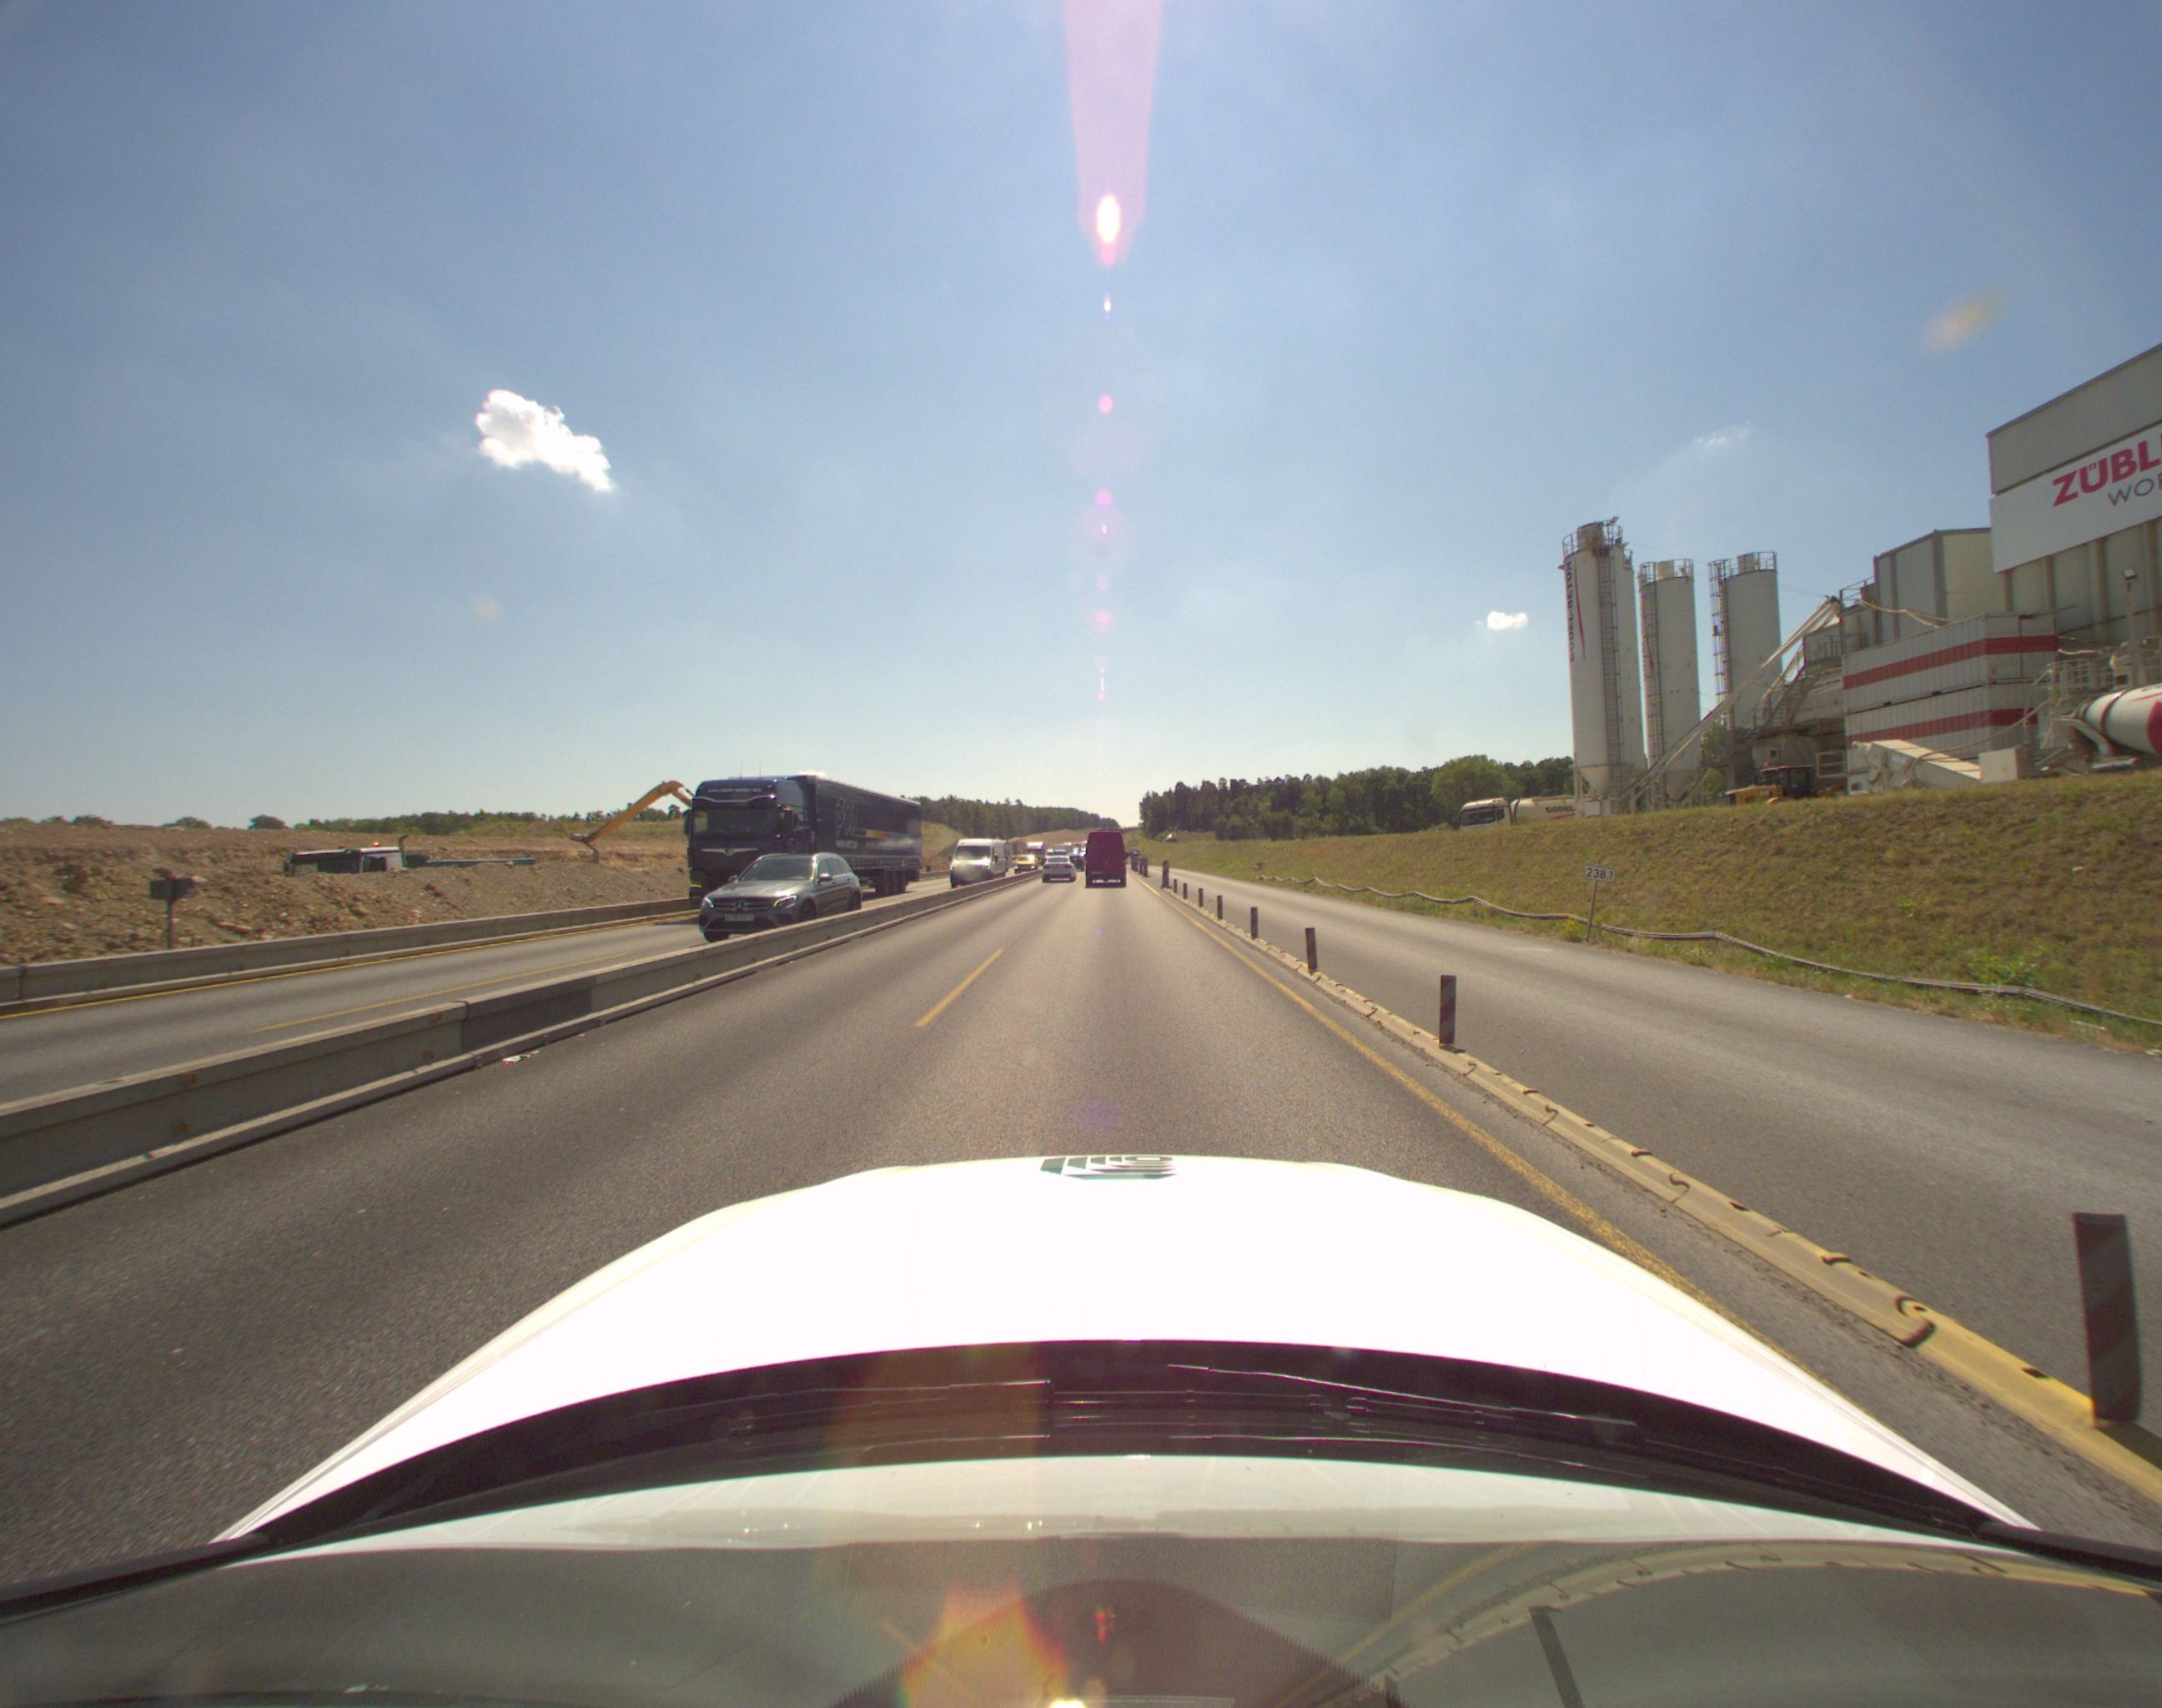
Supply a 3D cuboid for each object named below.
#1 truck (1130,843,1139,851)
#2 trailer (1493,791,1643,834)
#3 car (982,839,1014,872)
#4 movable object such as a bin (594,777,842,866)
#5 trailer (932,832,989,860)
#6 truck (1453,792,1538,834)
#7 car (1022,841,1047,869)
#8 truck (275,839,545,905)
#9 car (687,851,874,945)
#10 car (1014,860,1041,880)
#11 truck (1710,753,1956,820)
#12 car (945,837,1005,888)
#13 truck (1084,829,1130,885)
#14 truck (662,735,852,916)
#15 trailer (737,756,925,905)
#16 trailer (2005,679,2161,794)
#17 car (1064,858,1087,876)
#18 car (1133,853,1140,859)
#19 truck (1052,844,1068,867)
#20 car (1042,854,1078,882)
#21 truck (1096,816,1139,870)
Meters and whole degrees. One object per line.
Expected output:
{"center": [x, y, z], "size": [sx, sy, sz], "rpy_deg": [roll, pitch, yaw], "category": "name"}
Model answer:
{"center": [15.957, -2.103, 241.426], "size": [2.117, 2.457, 5.940], "rpy_deg": [0, 1, 9], "category": "truck"}
{"center": [33.183, -2.833, 55.595], "size": [8.872, 2.607, 2.462], "rpy_deg": [-1, -1, -3], "category": "trailer"}
{"center": [-7.718, 0.174, 76.255], "size": [2.243, 2.955, 5.851], "rpy_deg": [0, -1, 2], "category": "car"}
{"center": [-28.614, -2.518, 64.690], "size": [18.154, 6.773, 3.389], "rpy_deg": [0, -1, 1], "category": "movable object such as a bin"}
{"center": [-18.564, -1.144, 125.084], "size": [8.272, 4.098, 2.814], "rpy_deg": [-1, -1, 20], "category": "trailer"}
{"center": [27.670, -2.673, 54.345], "size": [5.330, 2.544, 2.873], "rpy_deg": [0, -1, -35], "category": "truck"}
{"center": [-6.578, 0.119, 116.738], "size": [2.897, 3.740, 8.094], "rpy_deg": [0, 0, 2], "category": "car"}
{"center": [-23.865, 0.594, 29.854], "size": [2.553, 2.058, 8.803], "rpy_deg": [0, 0, 0], "category": "truck"}
{"center": [-5.847, 0.778, 16.597], "size": [1.861, 1.629, 4.887], "rpy_deg": [0, 0, 2], "category": "car"}
{"center": [-4.501, 1.366, 69.015], "size": [1.754, 1.574, 4.365], "rpy_deg": [-1, 0, 3], "category": "car"}
{"center": [36.130, -3.212, 39.413], "size": [9.023, 2.868, 2.464], "rpy_deg": [0, -1, 7], "category": "truck"}
{"center": [-5.222, 0.370, 41.013], "size": [2.027, 2.343, 6.198], "rpy_deg": [0, 0, 2], "category": "car"}
{"center": [1.295, 0.179, 40.550], "size": [2.145, 2.590, 5.335], "rpy_deg": [0, 0, 2], "category": "truck"}
{"center": [-9.261, -0.720, 24.191], "size": [2.954, 4.652, 6.246], "rpy_deg": [0, -1, 2], "category": "truck"}
{"center": [-9.006, -0.683, 31.778], "size": [2.974, 4.596, 12.889], "rpy_deg": [0, -1, 2], "category": "trailer"}
{"center": [28.855, -3.183, 21.277], "size": [1.984, 2.644, 6.945], "rpy_deg": [0, -1, 5], "category": "trailer"}
{"center": [-0.489, 1.187, 74.068], "size": [1.959, 1.541, 4.313], "rpy_deg": [0, 0, 2], "category": "car"}
{"center": [15.313, 0.452, 223.405], "size": [1.647, 1.426, 4.548], "rpy_deg": [-3, 1, 2], "category": "car"}
{"center": [-2.971, 0.216, 118.100], "size": [2.264, 3.150, 7.310], "rpy_deg": [0, -1, -1], "category": "truck"}
{"center": [-1.183, 0.801, 46.843], "size": [1.824, 1.522, 3.962], "rpy_deg": [0, 0, 2], "category": "car"}
{"center": [3.963, -1.029, 90.917], "size": [4.383, 5.496, 16.609], "rpy_deg": [0, -1, 2], "category": "truck"}
